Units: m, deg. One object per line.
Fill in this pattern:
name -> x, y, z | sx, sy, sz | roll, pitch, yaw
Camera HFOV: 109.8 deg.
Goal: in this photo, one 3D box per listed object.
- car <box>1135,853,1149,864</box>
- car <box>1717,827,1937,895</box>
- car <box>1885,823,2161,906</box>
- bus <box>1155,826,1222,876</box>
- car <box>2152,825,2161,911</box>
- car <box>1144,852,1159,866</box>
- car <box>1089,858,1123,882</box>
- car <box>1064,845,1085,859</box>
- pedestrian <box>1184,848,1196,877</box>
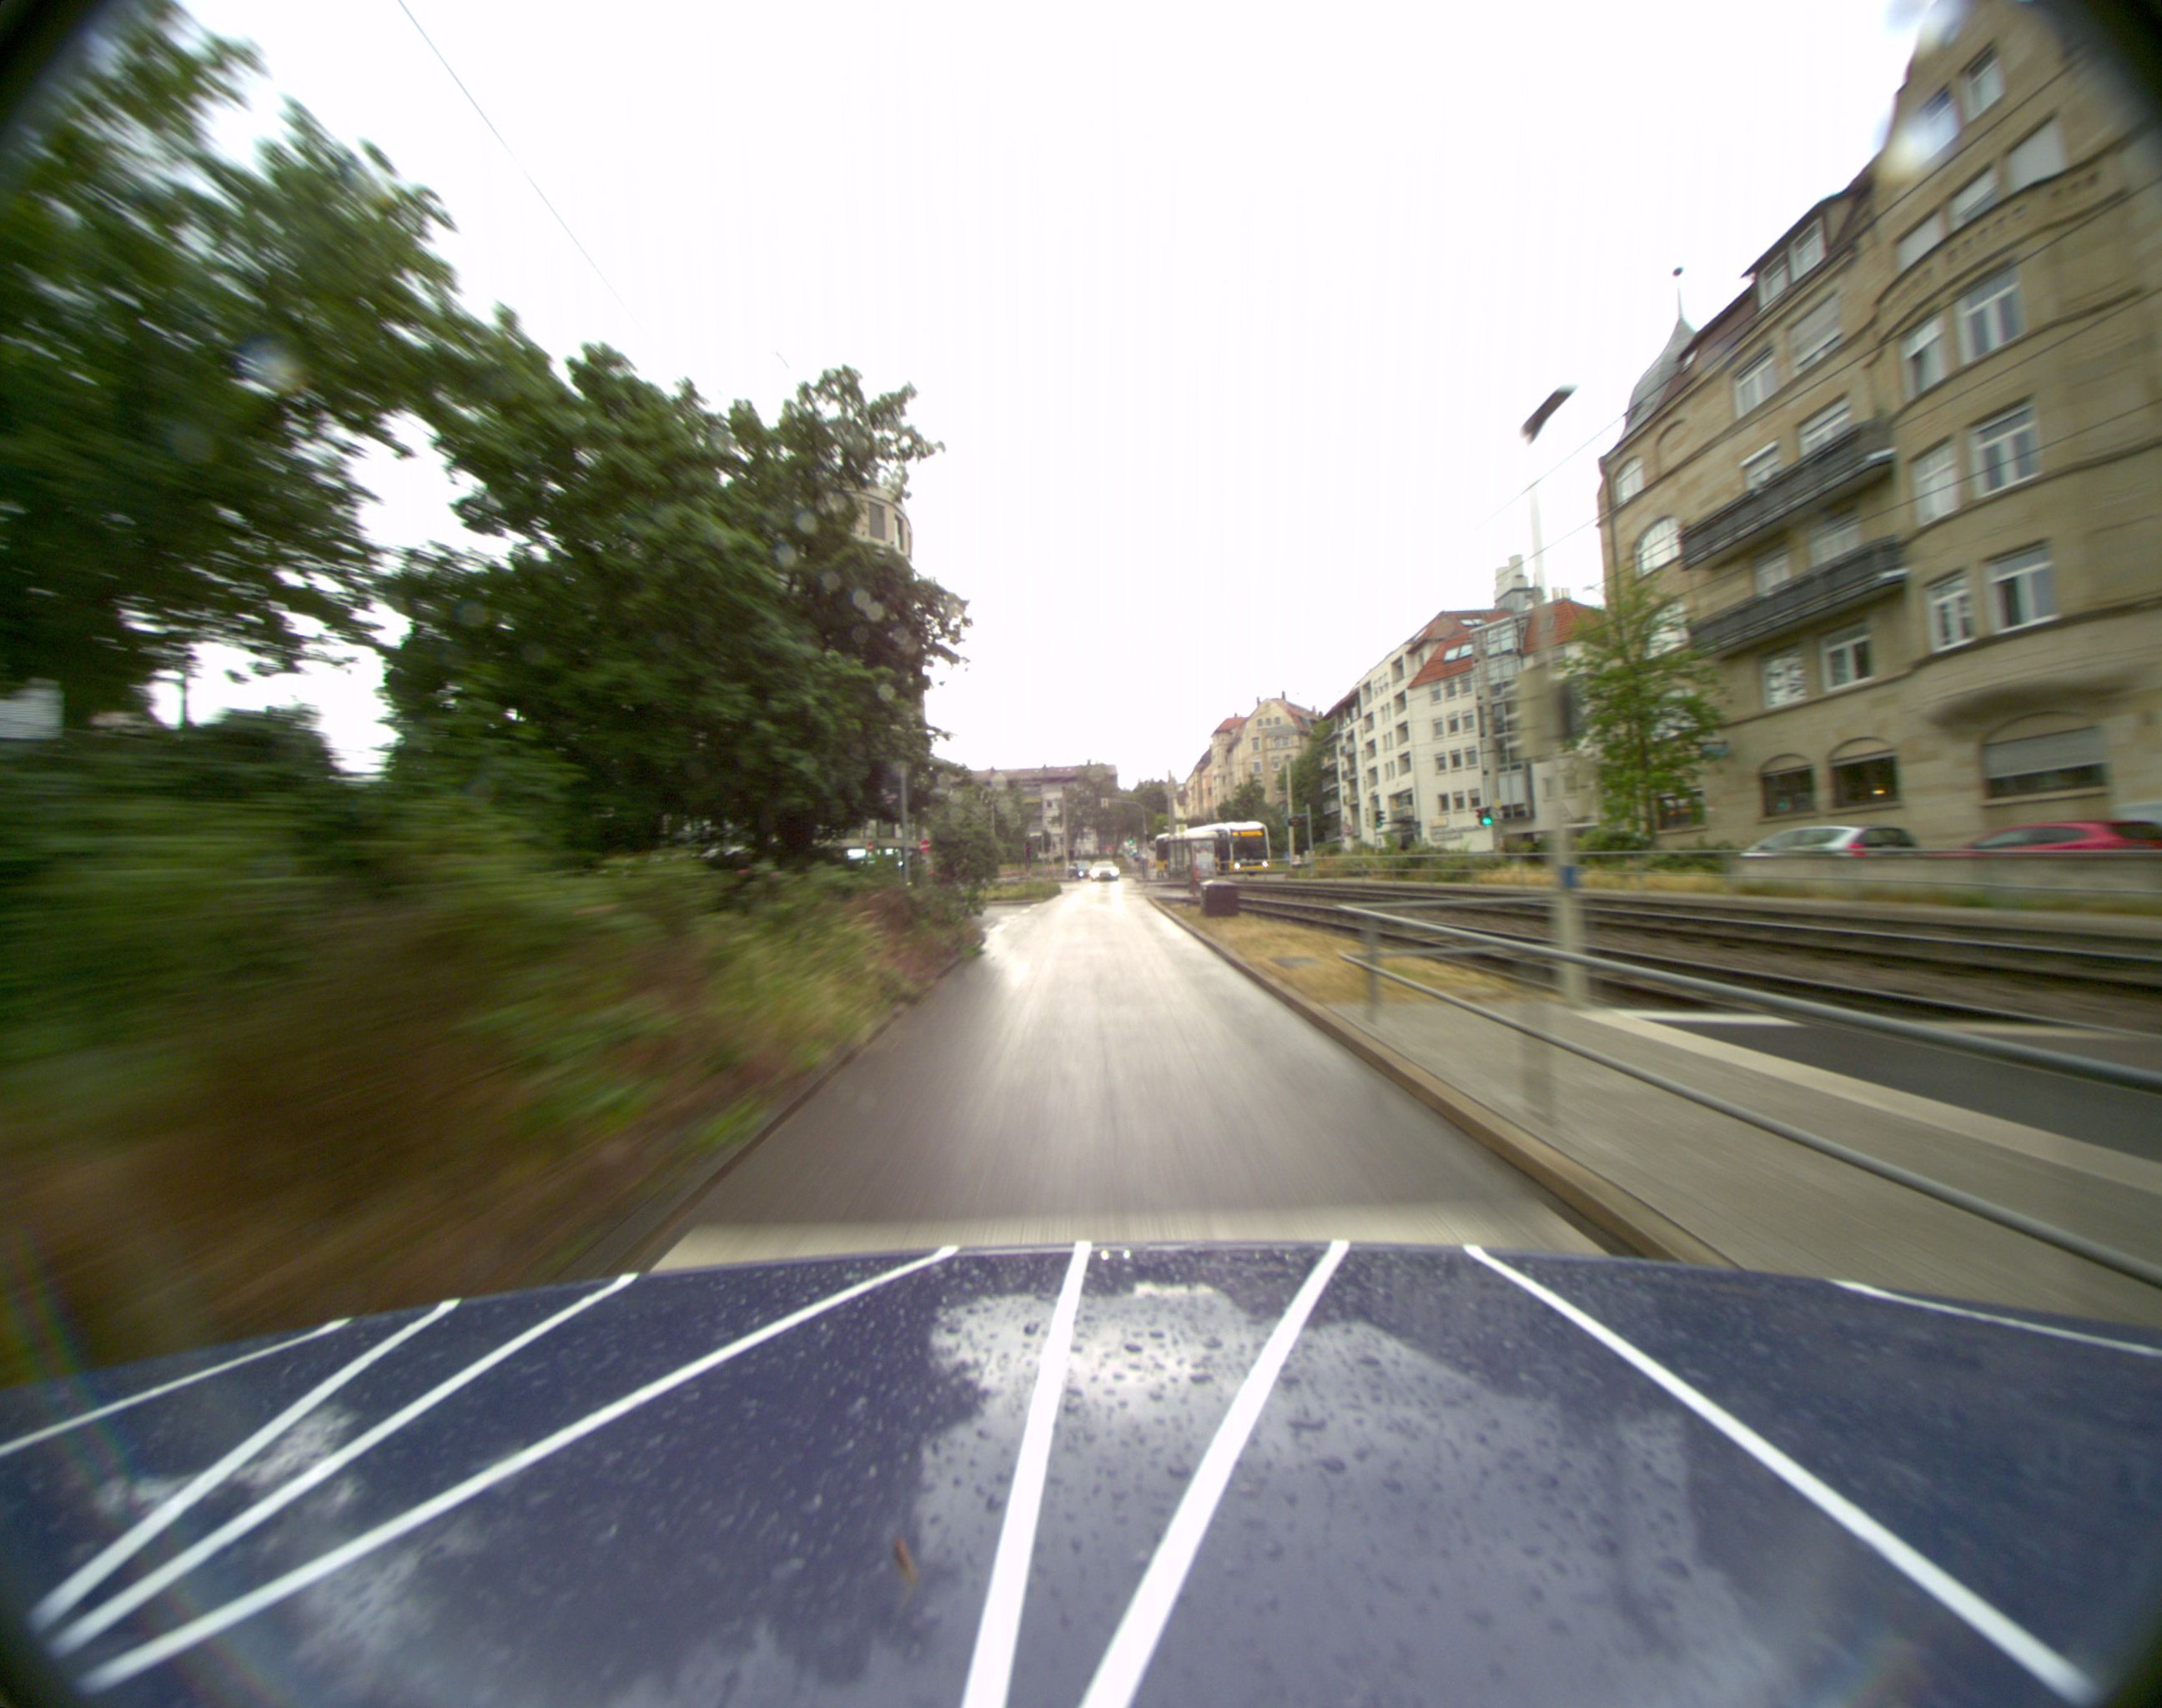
car -> 10.463, 0.742, 129.714 | 1.805, 1.824, 4.283 | -2, 0, -3
car -> 19.262, 0.177, 19.924 | 1.634, 1.538, 4.175 | -2, 0, 0
car -> 19.281, 0.180, 15.355 | 1.634, 1.433, 4.175 | -2, 0, 0
bus -> 8.139, -0.186, 58.677 | 2.599, 3.449, 9.101 | -2, 0, -8
car -> 18.980, 0.189, 10.406 | 1.722, 1.433, 4.868 | -2, 0, -1
car -> 10.566, 0.790, 113.859 | 1.998, 2.001, 4.001 | -1, -1, 3
car -> 1.828, 1.180, 56.843 | 1.813, 1.606, 4.302 | -3, 0, -8
car -> -0.616, -0.172, 77.032 | 1.998, 1.355, 4.000 | -2, 0, 1
pedestrian -> 6.647, 0.516, 46.305 | 0.578, 1.742, 0.543 | -2, 0, -11
